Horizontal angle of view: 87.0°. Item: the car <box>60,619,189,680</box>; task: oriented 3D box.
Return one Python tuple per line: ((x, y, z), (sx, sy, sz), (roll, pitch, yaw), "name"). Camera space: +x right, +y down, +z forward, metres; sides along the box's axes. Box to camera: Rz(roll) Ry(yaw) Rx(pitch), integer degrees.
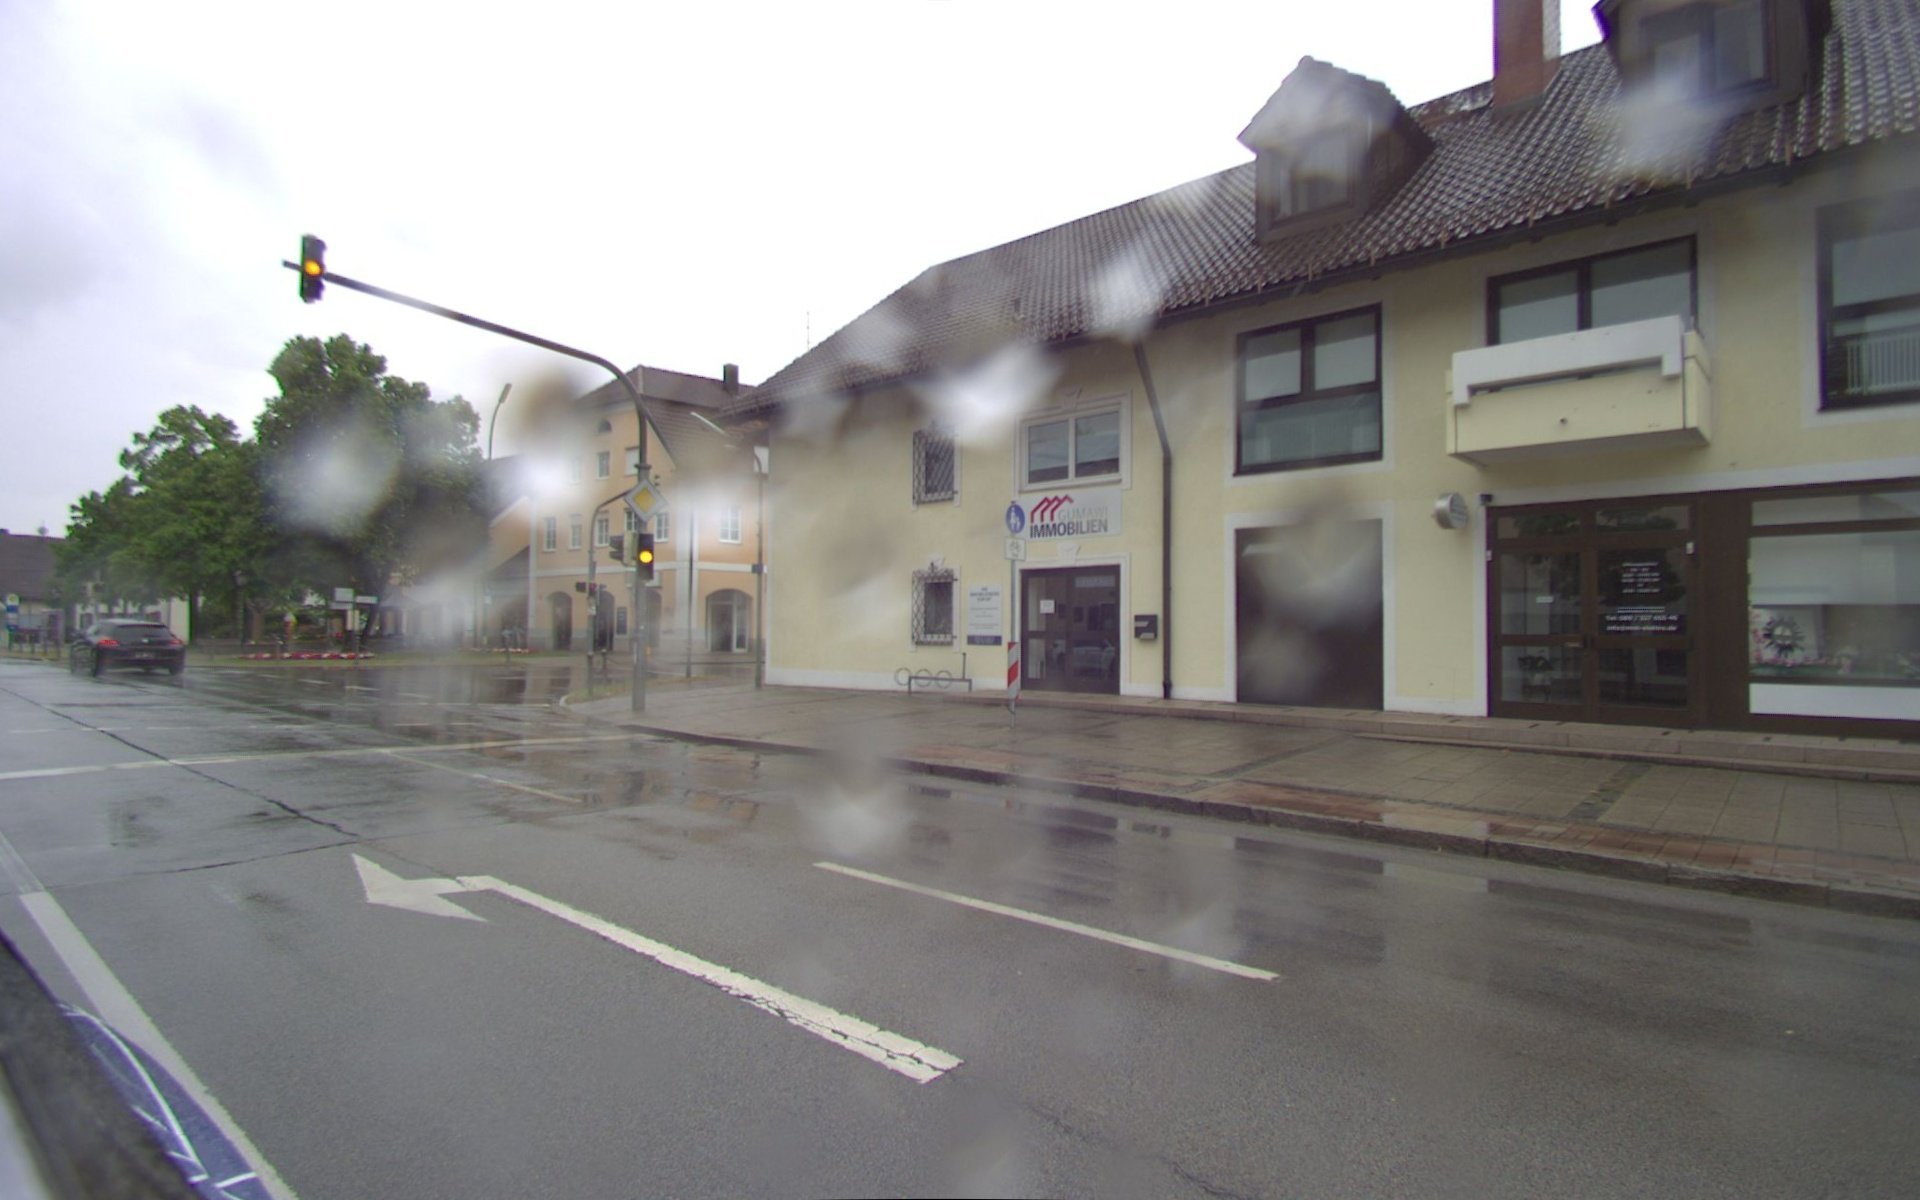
((-21.293, 1.232, 25.735), (3.883, 1.418, 1.975), (-1, -3, 43), "car")
